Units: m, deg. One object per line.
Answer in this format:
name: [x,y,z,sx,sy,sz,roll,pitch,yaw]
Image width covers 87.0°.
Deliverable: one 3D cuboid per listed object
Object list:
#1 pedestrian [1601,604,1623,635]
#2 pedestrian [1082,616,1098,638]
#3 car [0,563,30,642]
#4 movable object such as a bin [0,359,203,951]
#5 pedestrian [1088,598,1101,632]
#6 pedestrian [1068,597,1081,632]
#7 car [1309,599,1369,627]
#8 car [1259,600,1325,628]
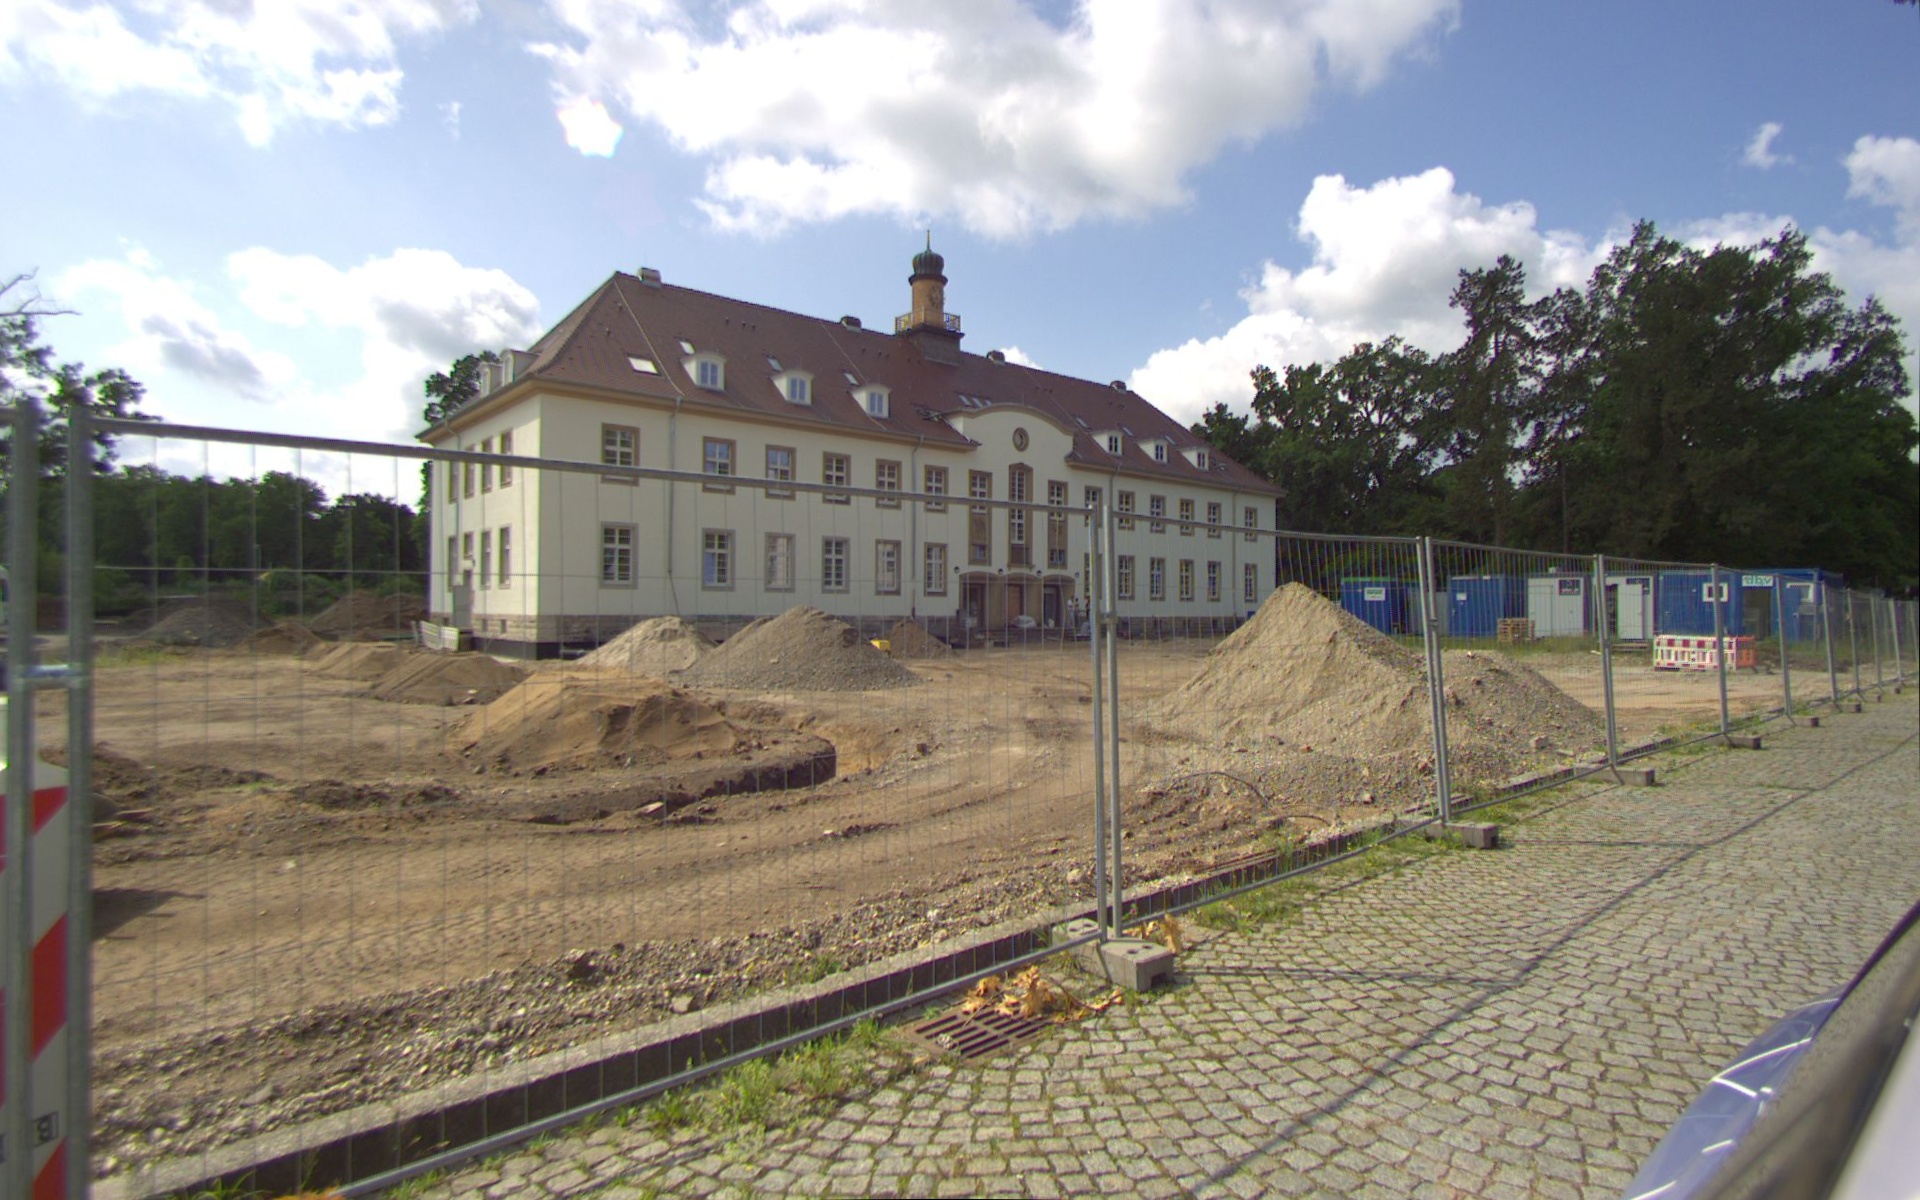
pedestrian: [26.717,0.798,41.481,0.671,1.259,0.602,1,-2,-42]
pedestrian: [6.703,1.414,52.293,0.697,1.128,0.490,1,-2,-42]
car: [-33.156,0.069,33.728,2.203,2.624,5.441,1,0,-32]
movable object such as a bin: [-6.944,0.173,4.281,5.538,2.554,2.153,2,-1,-12]
pedestrian: [7.213,0.785,54.455,0.498,1.811,0.490,2,-2,-43]
pedestrian: [6.070,0.774,53.589,0.496,1.811,0.492,1,-1,-18]
car: [23.485,0.800,62.668,3.967,1.705,1.801,1,0,-40]
car: [21.321,0.875,64.988,4.624,1.750,1.883,1,0,-40]
